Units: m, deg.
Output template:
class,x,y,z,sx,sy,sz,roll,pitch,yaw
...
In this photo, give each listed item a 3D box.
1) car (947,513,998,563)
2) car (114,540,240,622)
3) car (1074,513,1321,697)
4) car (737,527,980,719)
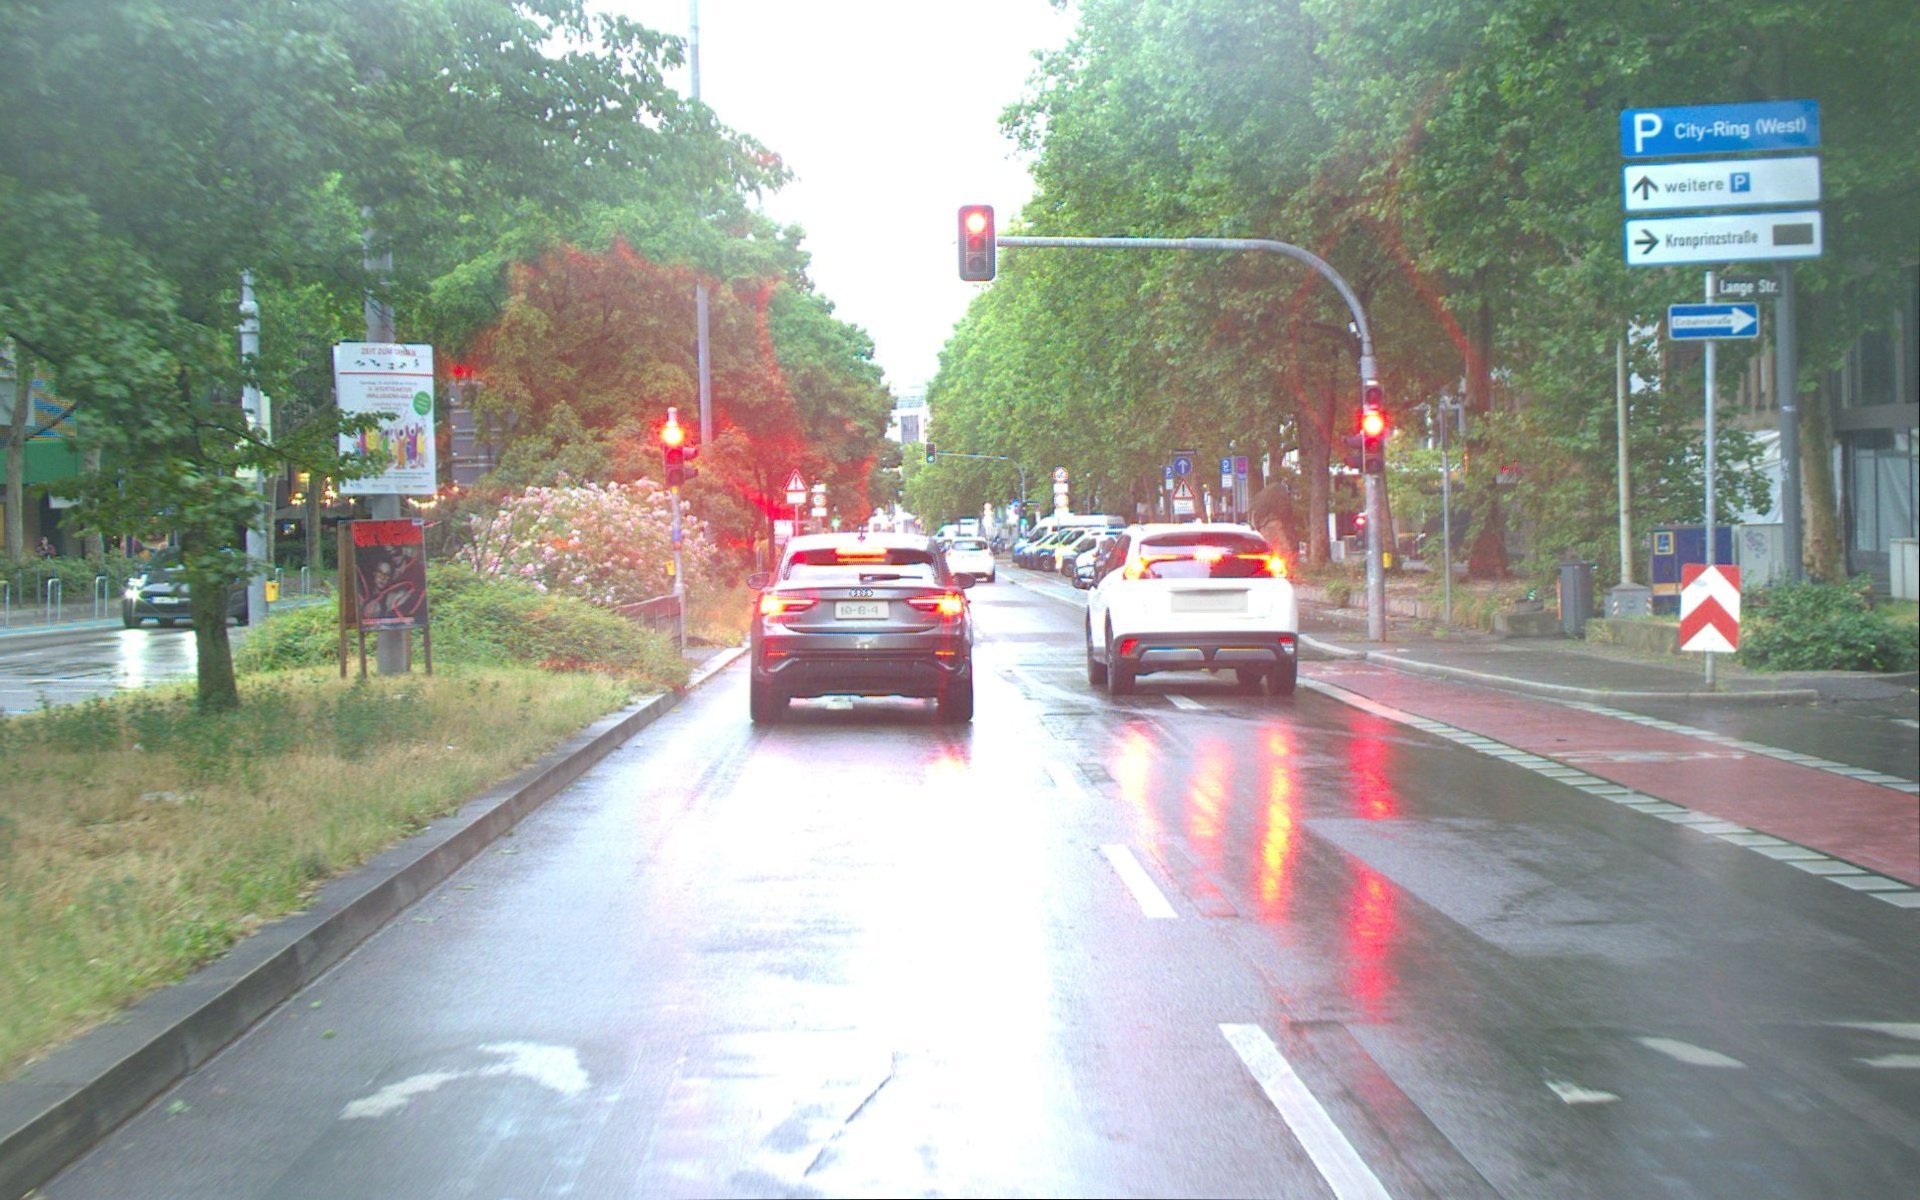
class,x,y,z,sx,sy,sz,roll,pitch,yaw
car,0.432,-2.181,119.519,1.620,1.660,4.001,-2,2,-1
car,-15.731,-0.409,69.238,1.829,1.546,4.190,-1,1,-4
car,2.293,-0.014,34.455,1.993,1.649,4.889,-1,2,-1
car,-0.859,0.142,29.422,1.918,1.486,4.001,-1,1,-1
